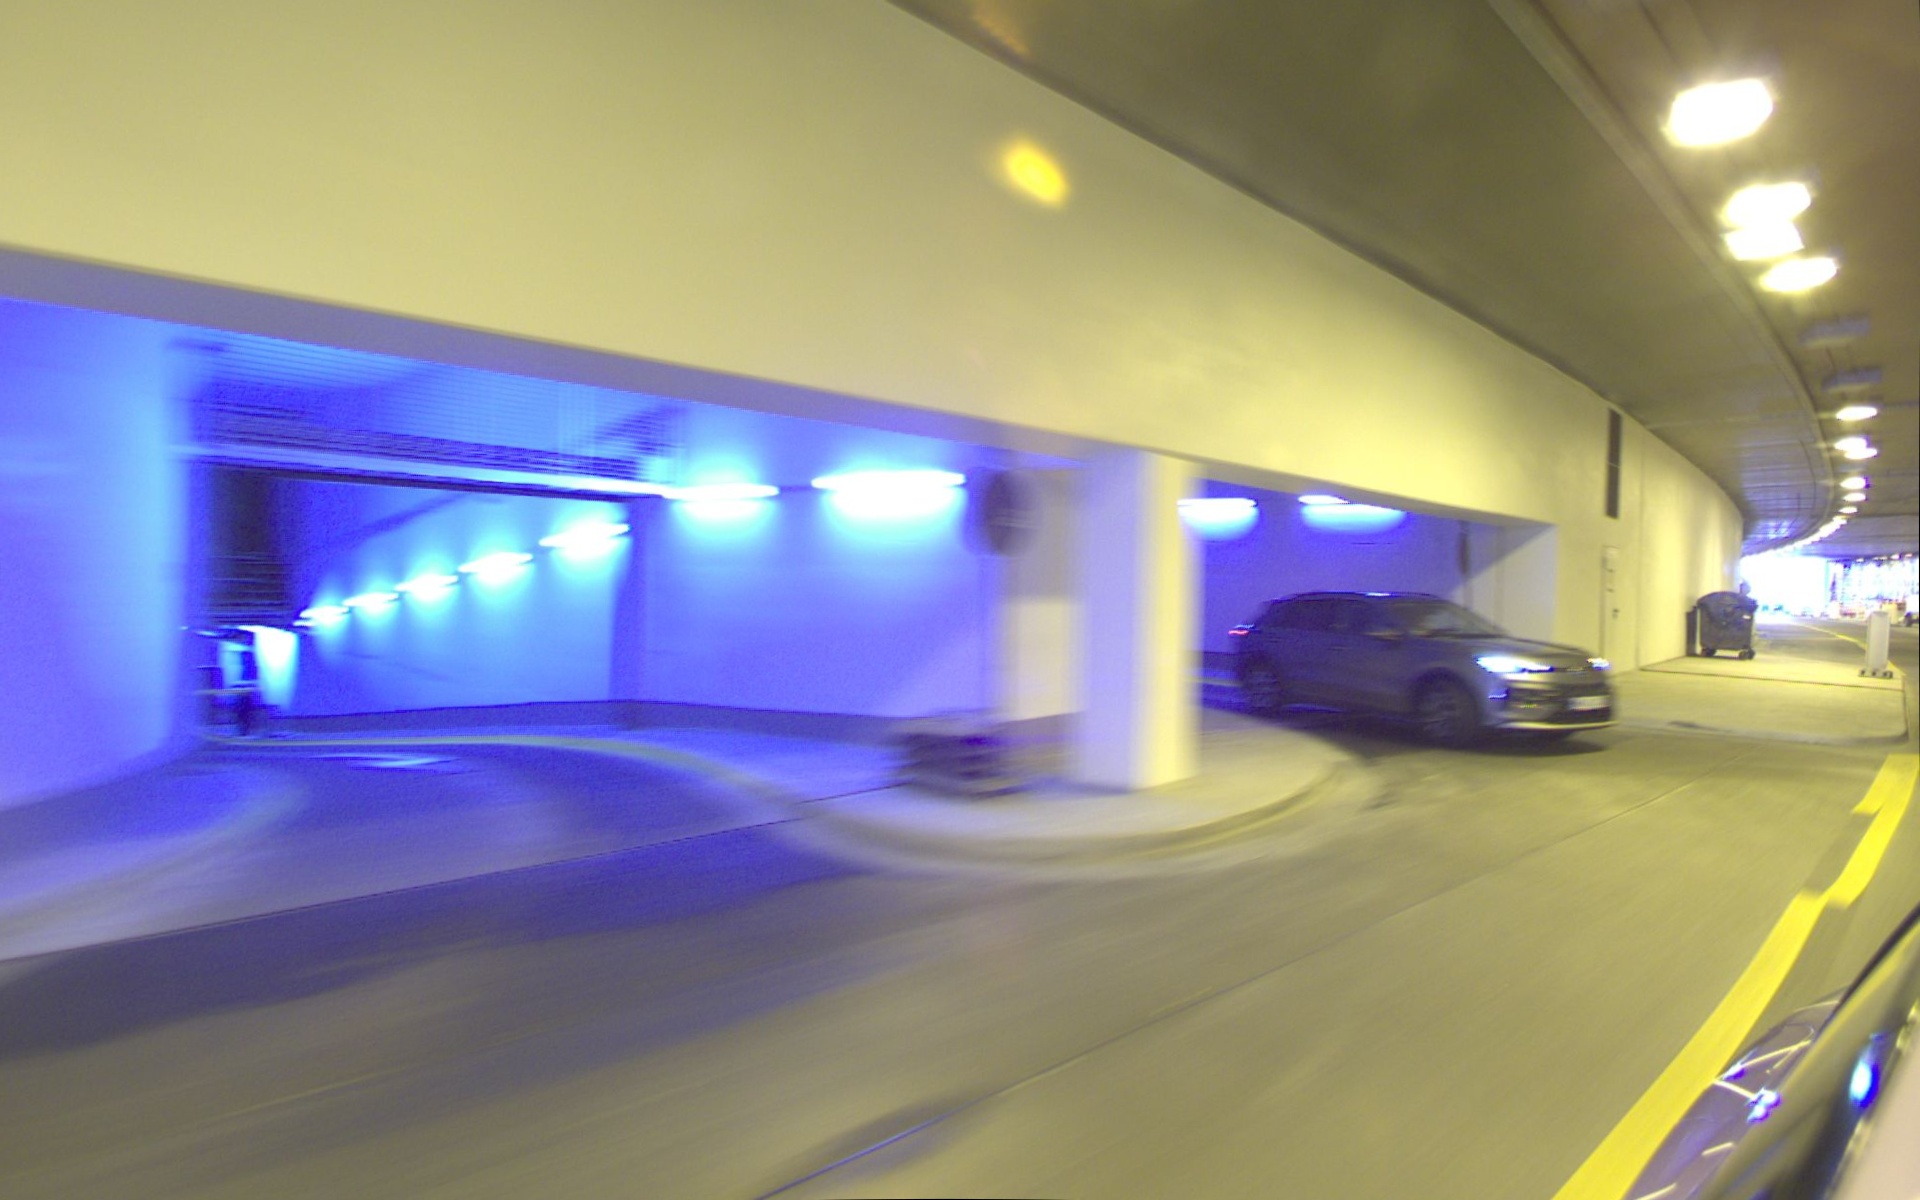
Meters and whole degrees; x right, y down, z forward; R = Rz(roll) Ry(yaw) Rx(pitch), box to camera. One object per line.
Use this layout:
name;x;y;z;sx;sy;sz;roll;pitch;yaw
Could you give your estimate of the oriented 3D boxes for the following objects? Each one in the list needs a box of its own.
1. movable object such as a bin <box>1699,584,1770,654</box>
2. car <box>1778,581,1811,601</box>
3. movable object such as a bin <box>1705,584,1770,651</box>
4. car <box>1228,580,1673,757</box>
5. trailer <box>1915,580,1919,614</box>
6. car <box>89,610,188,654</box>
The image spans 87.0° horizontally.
movable object such as a bin;16.819;0.386;21.975;1.145;1.463;1.343;0;1;42
car;78.280;-0.843;95.002;1.987;1.775;3.951;0;1;34
movable object such as a bin;17.715;0.362;23.058;1.097;1.463;1.302;0;1;42
car;5.129;0.562;11.273;1.858;1.565;4.248;-1;1;-25
trailer;51.521;-0.140;52.972;1.632;1.813;3.086;0;1;33
car;-34.390;1.312;42.340;3.963;1.683;1.851;0;1;28
